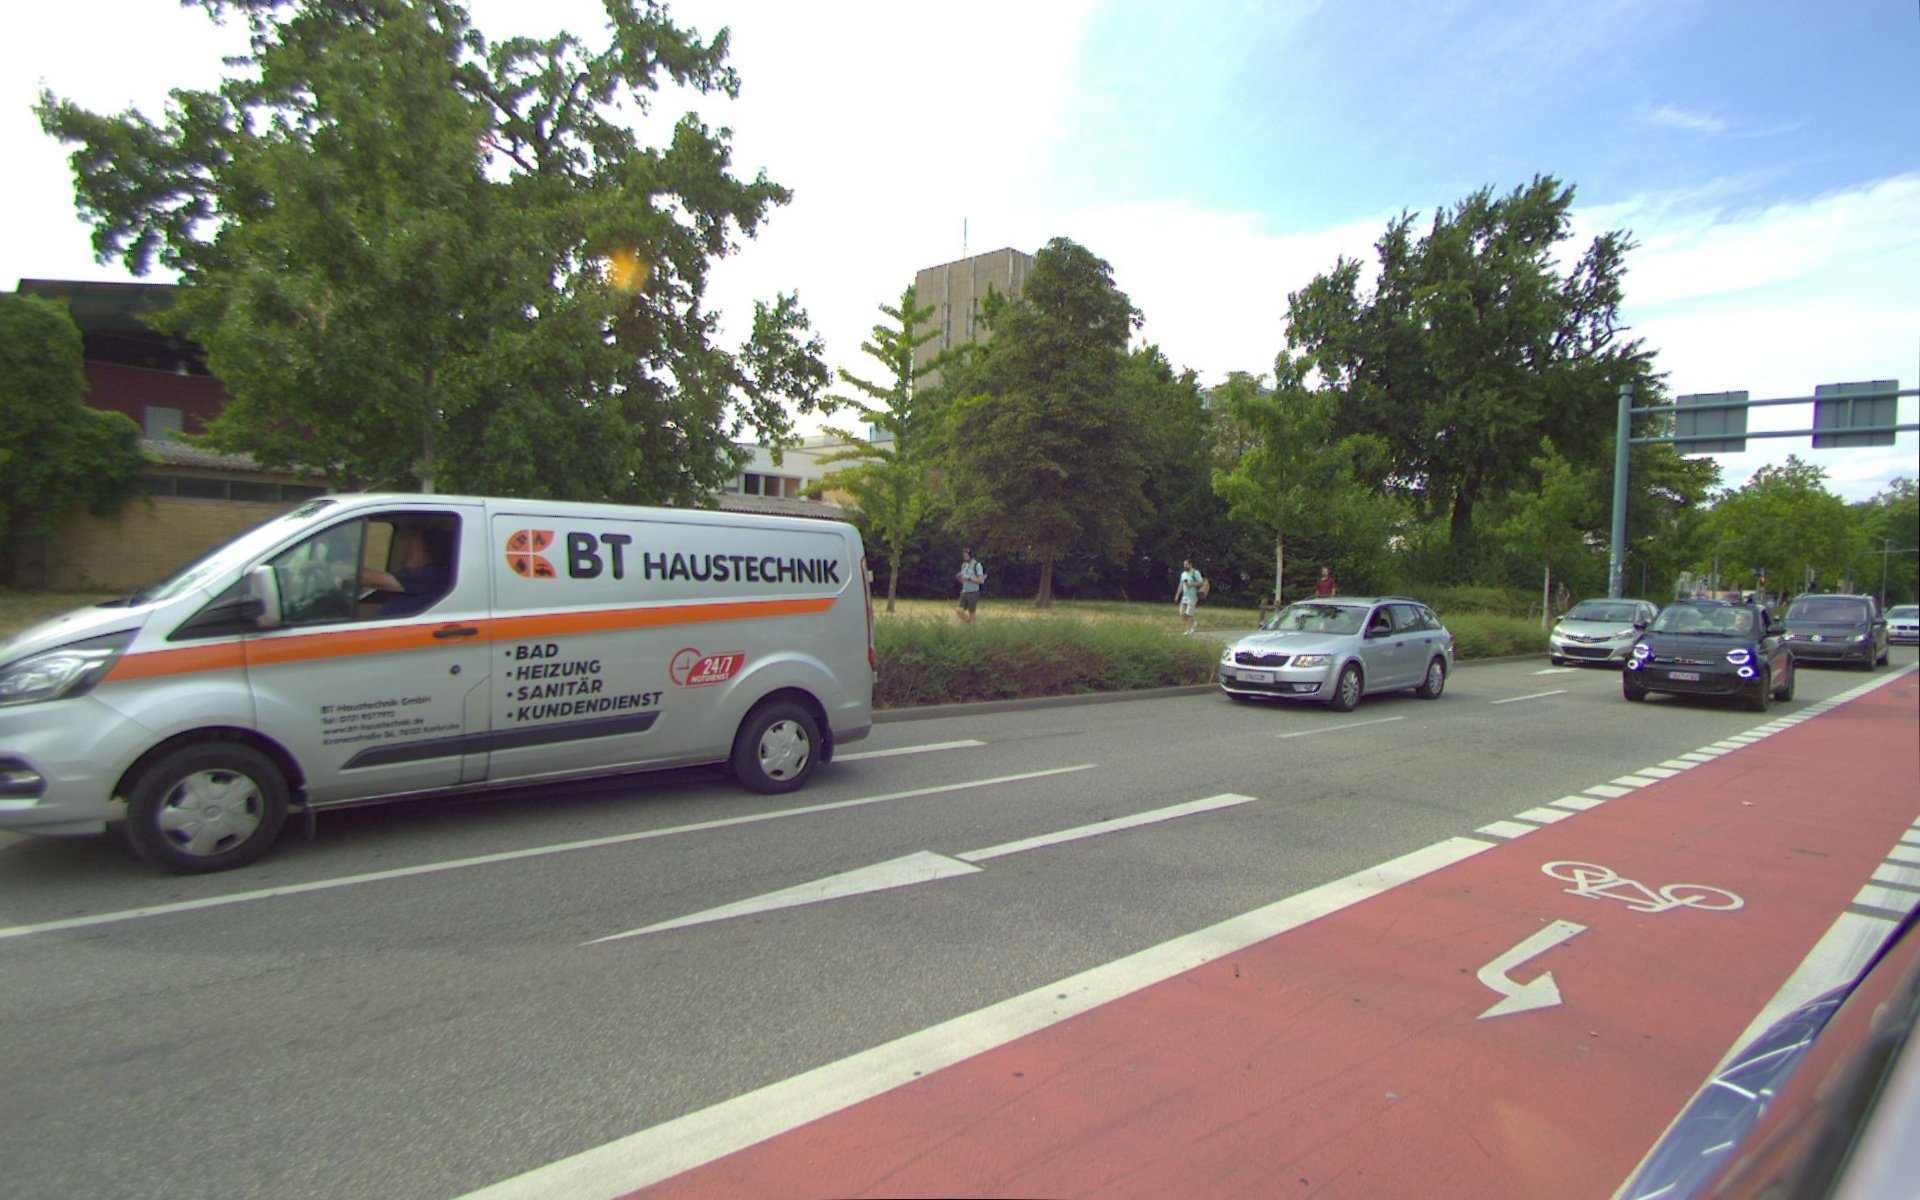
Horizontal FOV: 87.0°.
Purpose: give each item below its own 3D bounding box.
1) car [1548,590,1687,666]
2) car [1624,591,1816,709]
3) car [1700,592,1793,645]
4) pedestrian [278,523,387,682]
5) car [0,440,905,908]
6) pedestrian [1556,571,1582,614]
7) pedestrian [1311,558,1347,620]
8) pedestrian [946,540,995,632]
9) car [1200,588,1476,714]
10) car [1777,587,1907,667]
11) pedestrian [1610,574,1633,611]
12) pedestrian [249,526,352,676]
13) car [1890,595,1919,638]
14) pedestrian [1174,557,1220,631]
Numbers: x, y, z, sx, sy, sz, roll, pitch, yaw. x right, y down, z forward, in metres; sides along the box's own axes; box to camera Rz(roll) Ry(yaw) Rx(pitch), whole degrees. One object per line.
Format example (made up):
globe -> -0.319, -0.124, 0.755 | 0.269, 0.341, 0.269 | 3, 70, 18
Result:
car -> 14.592, 0.550, 22.390 | 3.809, 1.508, 1.668 | -1, 1, -42
car -> 11.398, 0.644, 15.115 | 3.382, 1.508, 1.669 | -1, 2, -42
car -> 22.821, 0.488, 29.342 | 3.400, 1.433, 1.667 | -1, 1, -44
pedestrian -> -7.149, 0.016, 11.535 | 0.834, 1.732, 0.790 | 1, 1, 33
car -> -2.911, 0.280, 6.579 | 5.116, 1.984, 1.822 | -1, 1, -42
pedestrian -> 24.793, -0.308, 41.210 | 0.683, 1.732, 0.713 | 0, 1, -42
pedestrian -> 10.369, -0.316, 28.461 | 0.683, 1.732, 0.713 | 0, 1, -42
pedestrian -> 0.206, -0.282, 19.559 | 0.543, 1.716, 0.684 | 6, 4, 45
car -> 5.447, 0.579, 14.290 | 4.451, 1.492, 1.822 | -1, 1, -42
car -> 20.621, 0.545, 23.600 | 4.606, 1.671, 1.757 | -1, 1, -42
pedestrian -> 30.967, -0.345, 47.385 | 0.683, 1.732, 0.713 | 0, 1, -42
pedestrian -> -7.965, 0.003, 12.226 | 0.834, 1.732, 0.790 | 1, 1, 33
car -> 34.651, 0.570, 36.121 | 4.151, 1.476, 1.757 | -1, 1, -42
pedestrian -> 5.664, -0.154, 24.208 | 0.840, 1.732, 0.684 | 1, 1, 45
